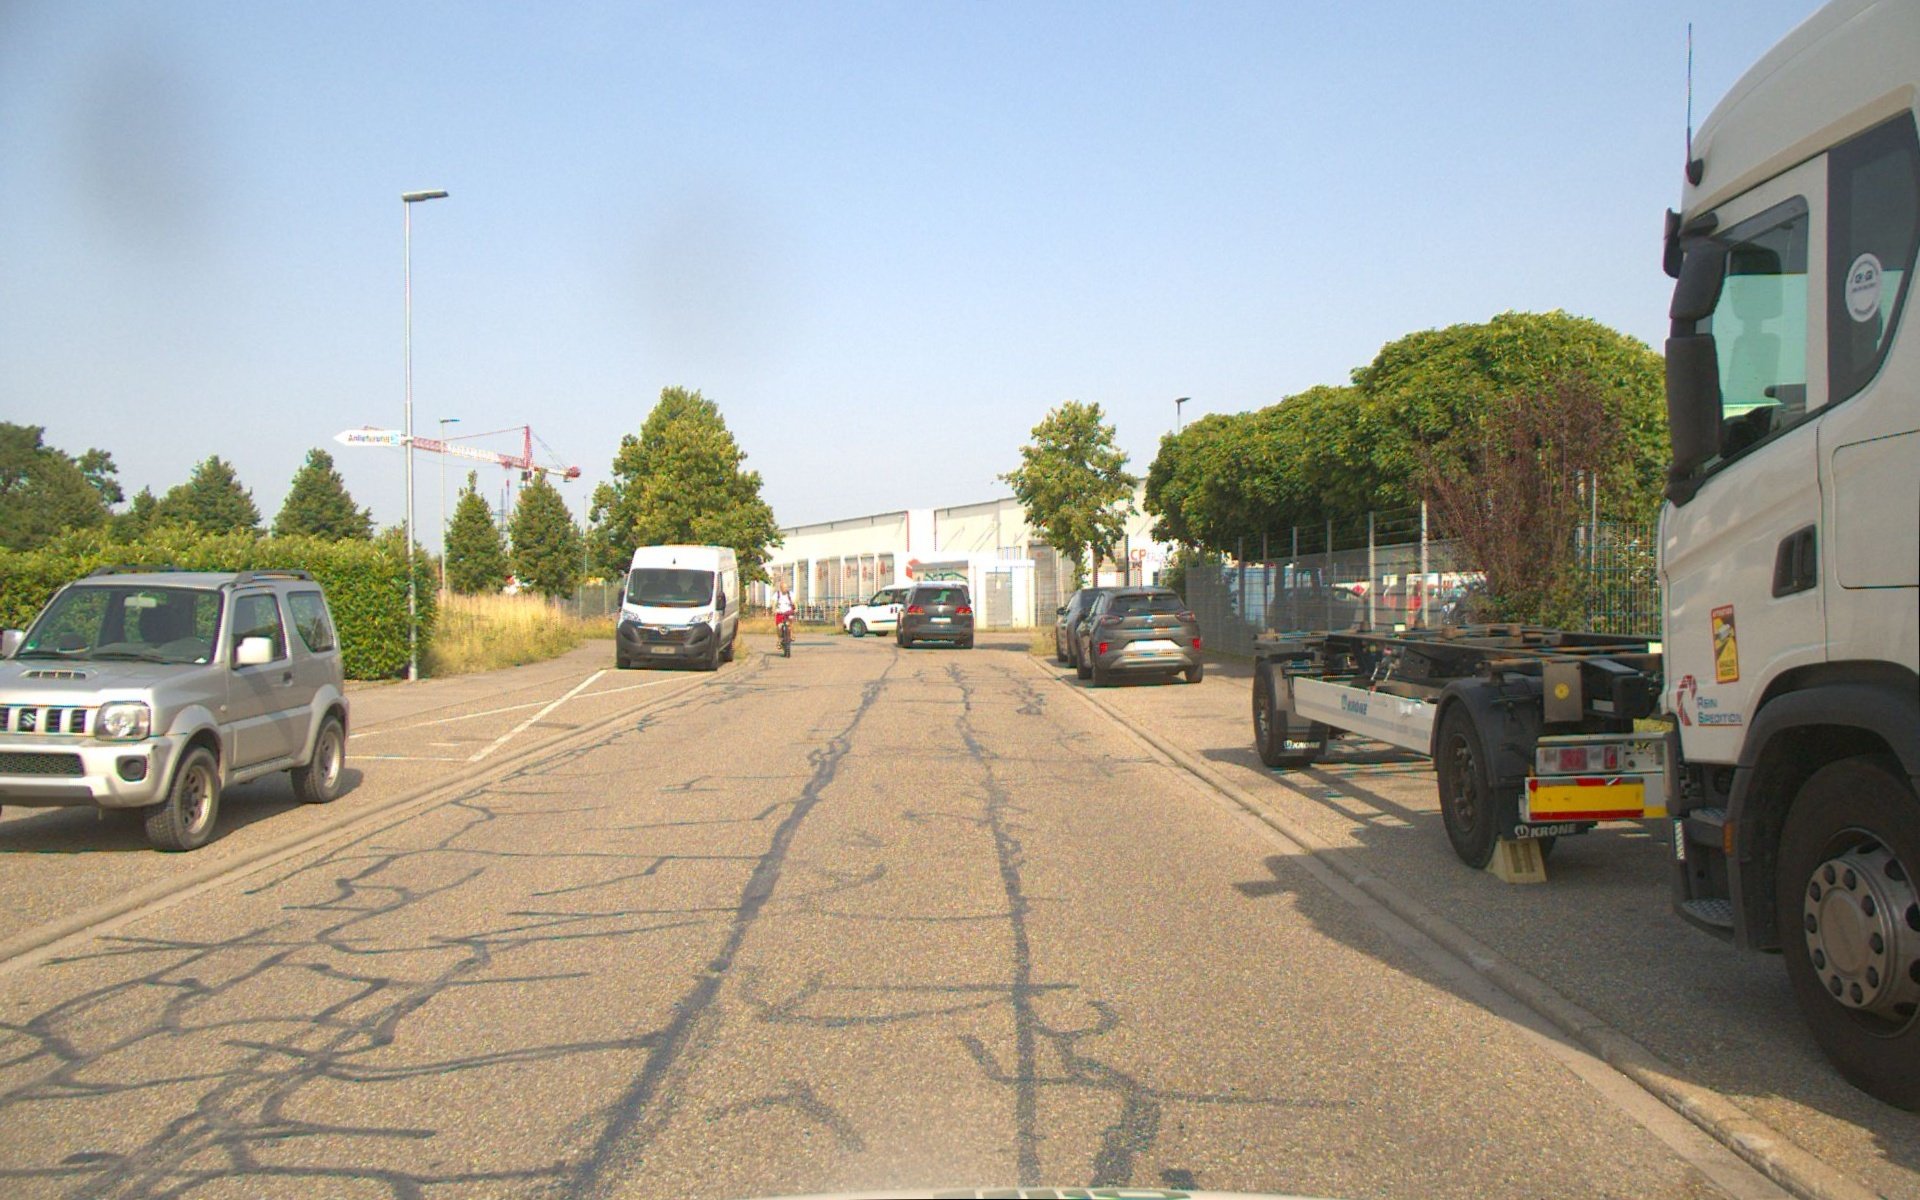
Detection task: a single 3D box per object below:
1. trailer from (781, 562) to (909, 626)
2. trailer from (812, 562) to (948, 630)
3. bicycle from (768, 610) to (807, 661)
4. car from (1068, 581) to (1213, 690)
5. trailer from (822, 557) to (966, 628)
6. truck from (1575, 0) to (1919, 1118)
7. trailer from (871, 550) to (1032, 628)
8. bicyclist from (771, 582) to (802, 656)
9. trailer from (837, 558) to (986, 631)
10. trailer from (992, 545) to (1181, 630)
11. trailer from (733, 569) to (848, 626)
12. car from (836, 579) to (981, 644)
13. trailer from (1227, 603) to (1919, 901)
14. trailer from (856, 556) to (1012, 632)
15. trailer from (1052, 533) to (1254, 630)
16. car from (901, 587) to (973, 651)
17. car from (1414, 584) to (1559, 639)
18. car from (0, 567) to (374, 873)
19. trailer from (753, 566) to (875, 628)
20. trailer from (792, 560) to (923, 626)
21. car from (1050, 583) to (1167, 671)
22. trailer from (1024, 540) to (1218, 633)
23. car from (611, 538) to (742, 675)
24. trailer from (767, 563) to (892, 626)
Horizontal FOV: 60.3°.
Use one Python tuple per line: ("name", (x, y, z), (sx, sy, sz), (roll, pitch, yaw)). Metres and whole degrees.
("trailer", (-7.487, -0.358, 108.011), (7.860, 3.962, 2.754), (2, 0, -25))
("trailer", (-4.959, -0.211, 102.882), (7.930, 3.962, 2.754), (2, 0, -25))
("bicycle", (-4.204, 0.853, 40.429), (0.701, 1.141, 2.219), (-3, 0, -1))
("car", (2.879, 0.555, 27.237), (1.842, 1.601, 4.112), (-2, 0, -1))
("trailer", (-3.937, -0.415, 99.089), (8.201, 3.962, 2.754), (2, 0, -25))
("truck", (3.868, -0.683, 3.316), (2.638, 4.033, 6.044), (-3, 0, -3))
("trailer", (-0.444, -0.561, 90.545), (8.426, 3.962, 2.754), (2, 0, -25))
("bicyclist", (-4.225, 0.455, 40.377), (0.626, 1.749, 1.165), (-1, 0, -1))
("trailer", (-2.782, -0.272, 96.093), (8.201, 3.962, 2.754), (2, 0, -25))
("trailer", (5.940, -0.541, 77.197), (8.619, 3.827, 2.769), (0, -1, -25))
("trailer", (-12.316, -0.167, 120.297), (7.860, 3.962, 2.754), (2, 0, -25))
("car", (-1.773, 0.398, 57.222), (4.514, 2.147, 2.128), (-1, -1, 21))
("trailer", (3.476, 0.714, 11.465), (1.899, 1.257, 7.450), (-3, 0, -1))
("trailer", (-1.459, -0.306, 93.538), (8.426, 3.962, 2.754), (2, 0, -25))
("trailer", (8.382, -0.759, 71.699), (8.418, 3.962, 2.756), (0, -3, -23))
("car", (-0.614, 0.508, 44.974), (1.842, 1.614, 4.112), (-1, 0, -1))
("car", (16.697, 0.344, 52.429), (4.196, 1.654, 1.865), (0, 1, -23))
("car", (-5.386, 0.657, 11.143), (1.565, 1.679, 3.643), (2, 0, -1))
("trailer", (-10.037, -0.188, 113.926), (7.860, 3.962, 2.754), (2, 0, -25))
("trailer", (-6.509, -0.404, 105.262), (7.860, 3.962, 2.754), (2, 0, -25))
("car", (2.978, 0.528, 34.167), (1.842, 1.601, 5.117), (-2, 0, -1))
("trailer", (7.274, -0.642, 74.467), (8.421, 3.961, 2.756), (-1, 0, -23))
("car", (-6.012, 0.125, 35.838), (2.060, 2.640, 6.499), (2, 0, -4))
("trailer", (-8.743, -0.339, 111.177), (7.860, 3.962, 2.754), (2, 0, -25))
